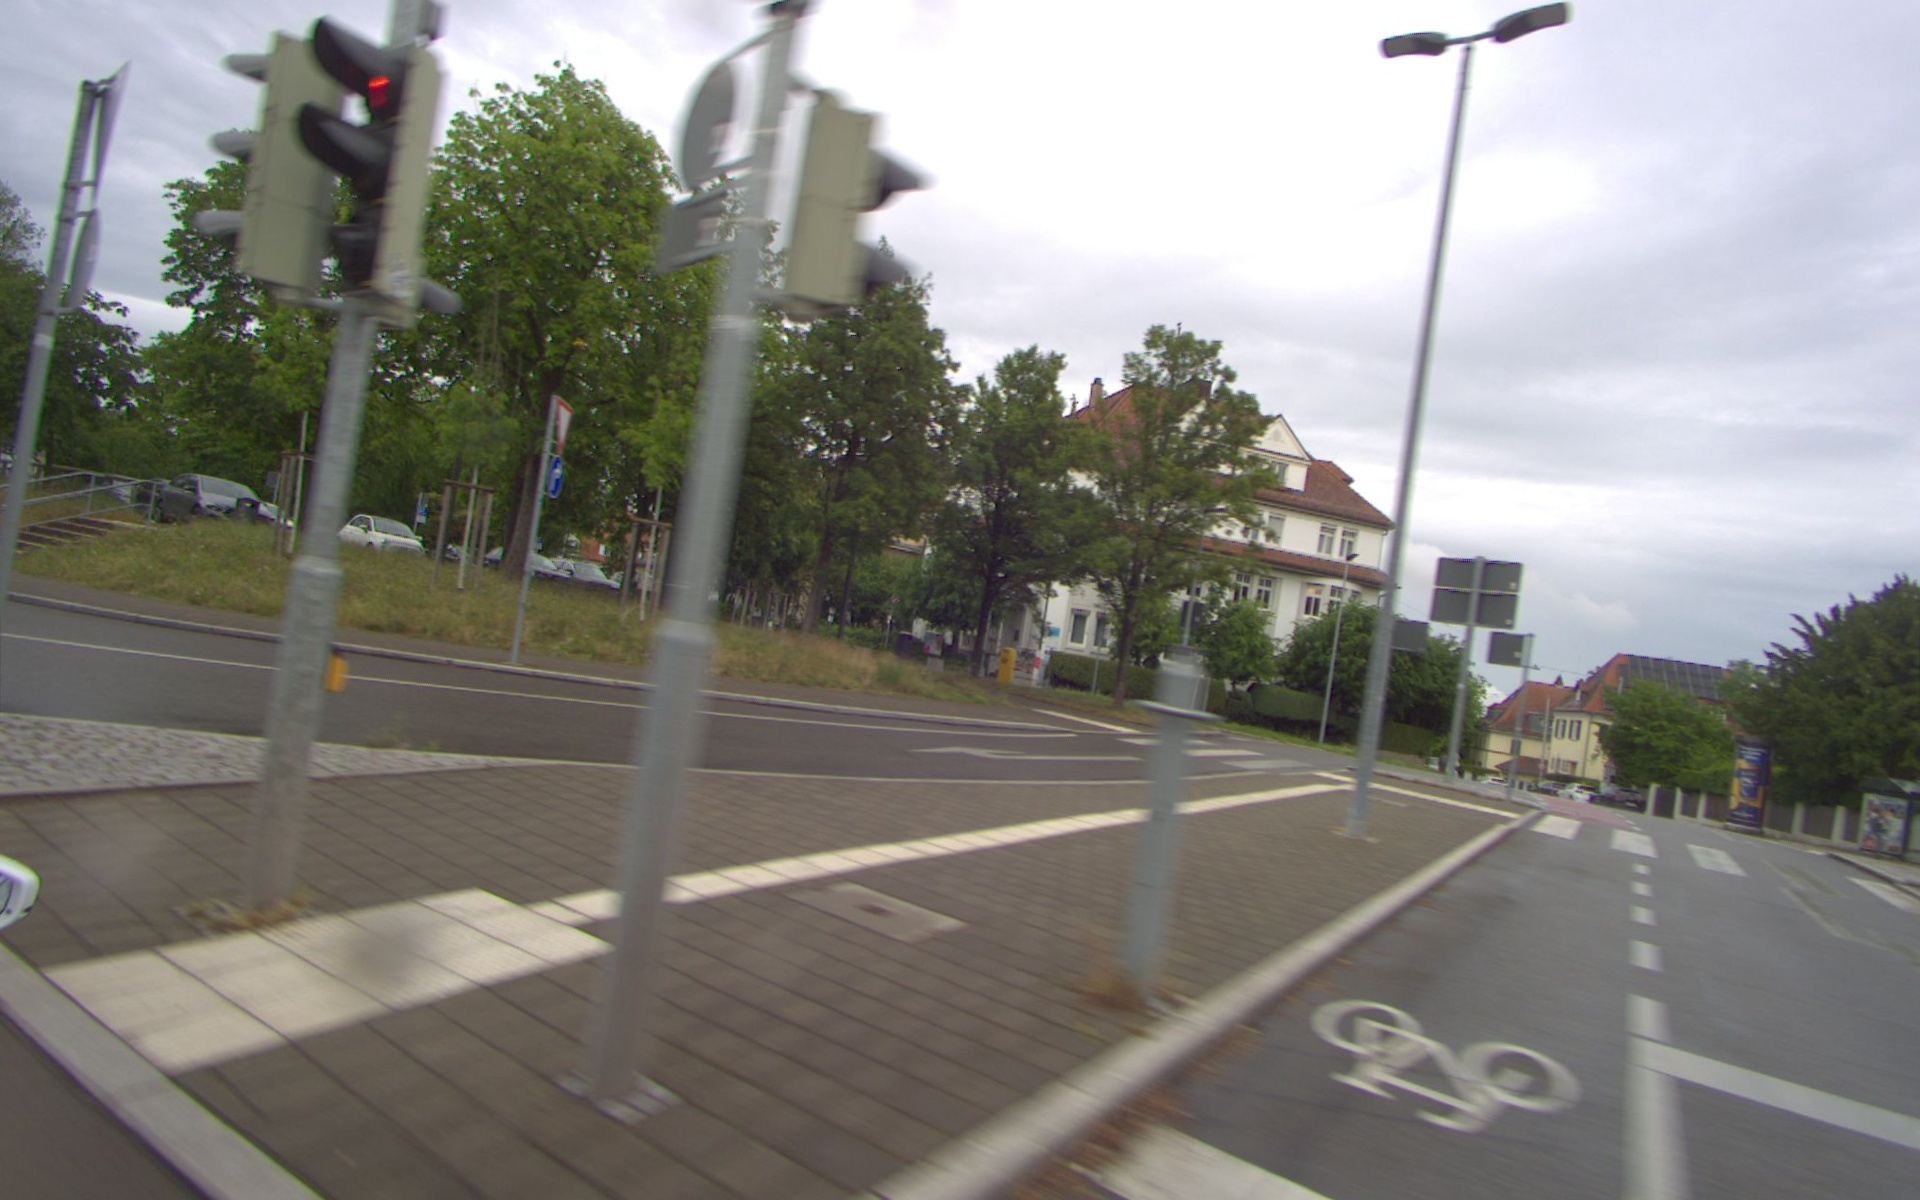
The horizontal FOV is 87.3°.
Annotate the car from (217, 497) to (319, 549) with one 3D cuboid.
[{"bbox_3d":[-27.642,-3.078,40.158,4.004,1.495,1.890,6,-5,35],"label":"car"}]

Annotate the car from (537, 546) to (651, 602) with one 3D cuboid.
[{"bbox_3d":[-13.991,-1.000,38.422,4.003,1.495,1.891,6,-5,33],"label":"car"}]

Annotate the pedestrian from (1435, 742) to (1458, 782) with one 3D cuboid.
[{"bbox_3d":[24.509,8.153,50.694,0.807,1.855,0.696,7,-4,24],"label":"pedestrian"}]

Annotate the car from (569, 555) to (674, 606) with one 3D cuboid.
[{"bbox_3d":[-14.027,-0.818,41.626,4.003,1.495,1.891,6,-5,33],"label":"car"}]

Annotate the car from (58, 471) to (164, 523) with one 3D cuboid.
[{"bbox_3d":[-33.625,-4.082,39.791,4.707,1.495,1.890,6,-5,35],"label":"car"}]

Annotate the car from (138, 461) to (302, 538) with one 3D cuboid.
[{"bbox_3d":[-20.595,-2.795,27.980,4.212,1.495,2.001,7,-5,30],"label":"car"}]

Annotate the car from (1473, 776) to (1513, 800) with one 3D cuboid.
[{"bbox_3d":[43.450,15.313,82.143,1.813,1.394,4.011,8,-5,14],"label":"car"}]

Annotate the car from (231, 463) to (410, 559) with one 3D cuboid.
[{"bbox_3d":[-16.096,-2.244,25.309,3.932,1.678,2.002,8,-5,30],"label":"car"}]

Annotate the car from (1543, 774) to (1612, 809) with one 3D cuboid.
[{"bbox_3d":[38.783,12.005,63.364,1.962,1.494,5.477,8,-5,14],"label":"car"}]

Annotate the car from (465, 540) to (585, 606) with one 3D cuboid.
[{"bbox_3d":[-15.899,-0.996,36.760,3.935,1.678,2.000,7,-5,34],"label":"car"}]

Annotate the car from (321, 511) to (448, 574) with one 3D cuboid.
[{"bbox_3d":[-18.739,-1.882,32.714,4.004,1.495,1.890,6,-5,35],"label":"car"}]

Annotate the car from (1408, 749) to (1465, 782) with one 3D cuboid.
[{"bbox_3d":[29.034,10.061,61.437,1.962,1.494,4.011,8,-5,10],"label":"car"}]

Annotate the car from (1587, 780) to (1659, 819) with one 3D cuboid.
[{"bbox_3d":[36.870,11.059,56.029,1.962,1.494,4.011,8,-5,14],"label":"car"}]

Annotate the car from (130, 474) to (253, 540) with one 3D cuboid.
[{"bbox_3d":[-27.714,-3.369,36.262,4.400,1.678,2.000,7,-5,34],"label":"car"}]
